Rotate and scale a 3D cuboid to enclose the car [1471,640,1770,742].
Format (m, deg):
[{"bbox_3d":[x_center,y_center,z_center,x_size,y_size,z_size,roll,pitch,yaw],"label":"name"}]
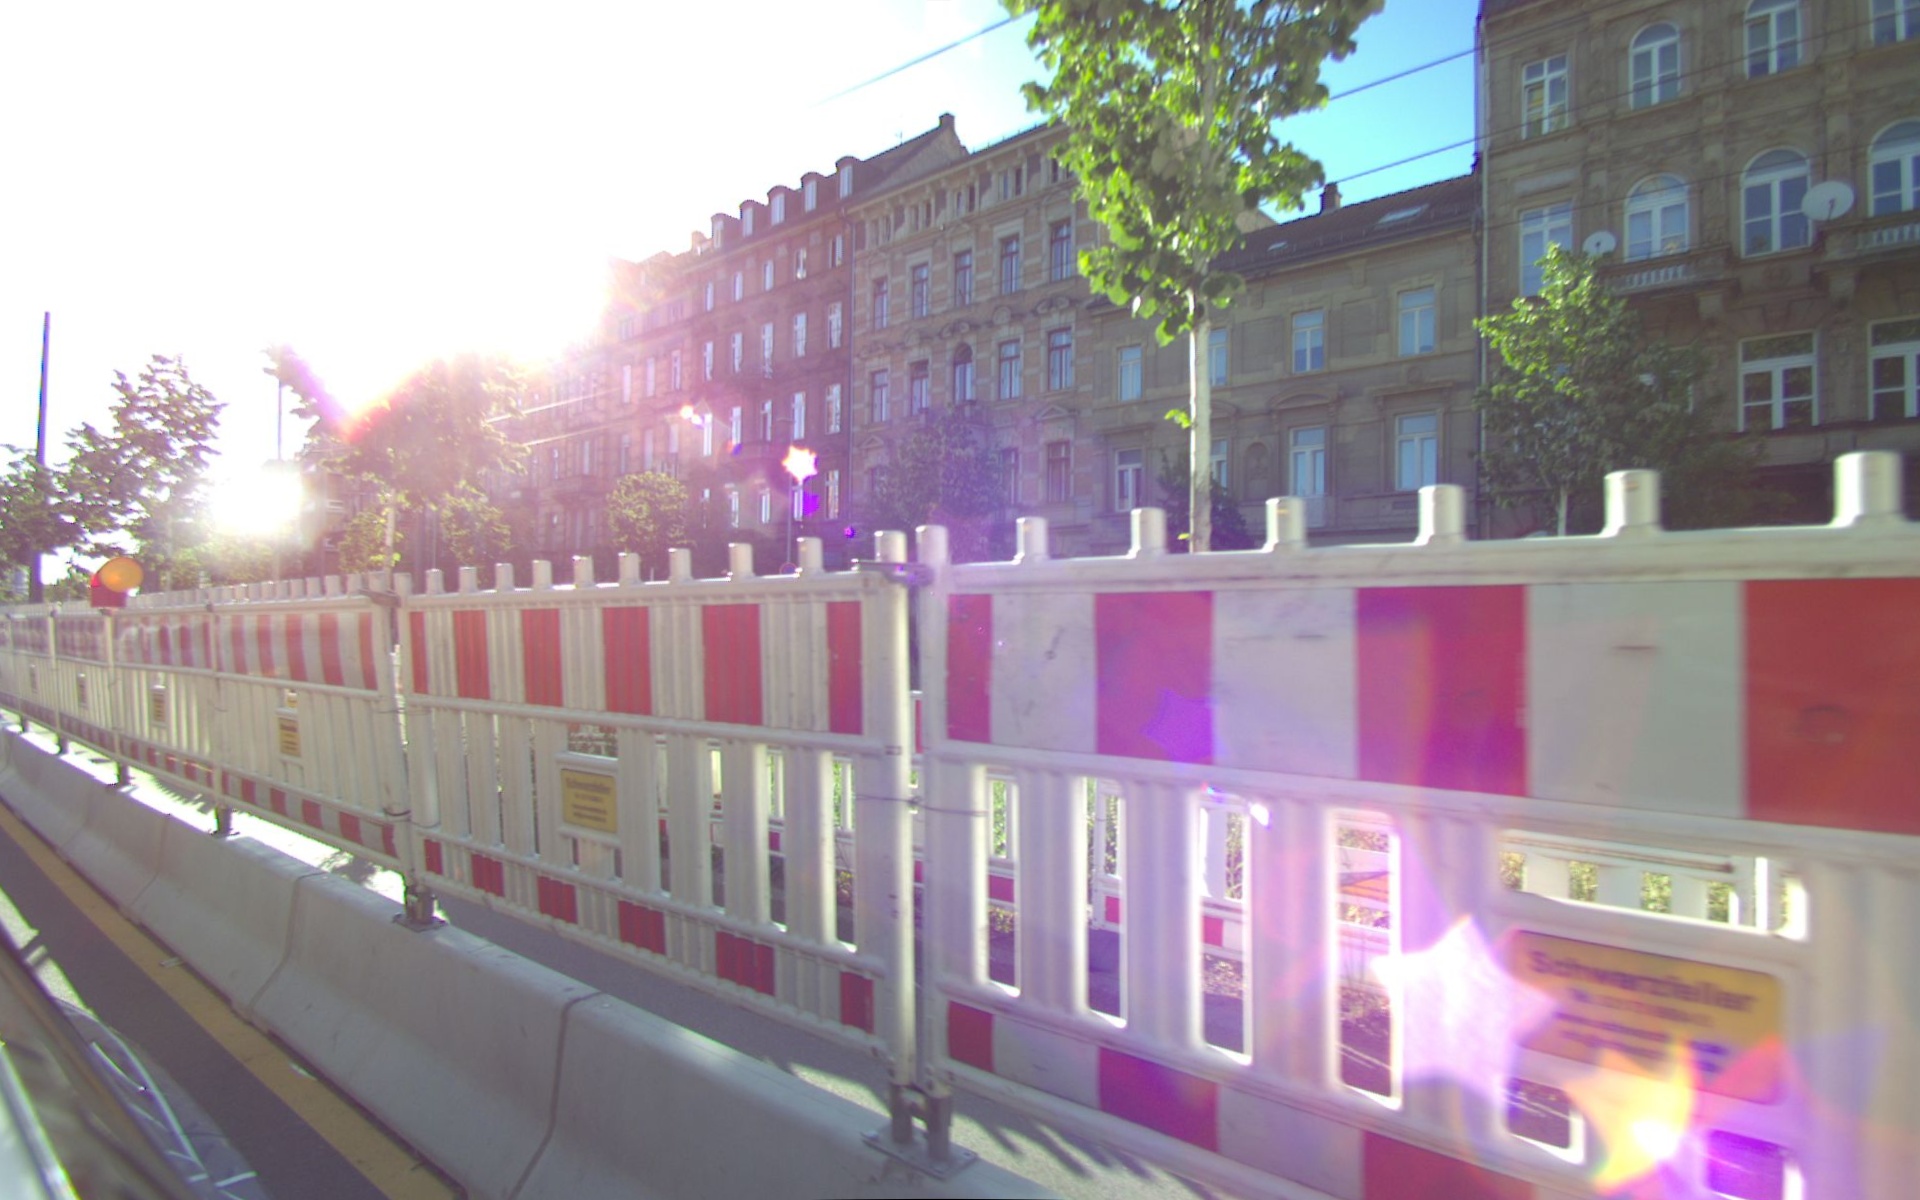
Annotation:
[{"bbox_3d":[11.761,1.528,18.163,4.305,1.449,1.973,-1,0,40],"label":"car"}]

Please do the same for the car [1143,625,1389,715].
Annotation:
[{"bbox_3d":[6.745,1.455,22.637,4.884,1.710,1.973,-1,0,40],"label":"car"}]

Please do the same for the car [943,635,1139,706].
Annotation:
[{"bbox_3d":[2.064,1.785,26.809,4.982,1.549,1.973,-1,0,41],"label":"car"}]

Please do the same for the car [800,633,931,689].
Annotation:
[{"bbox_3d":[-2.956,1.832,31.220,4.026,1.490,1.730,-1,0,41],"label":"car"}]
